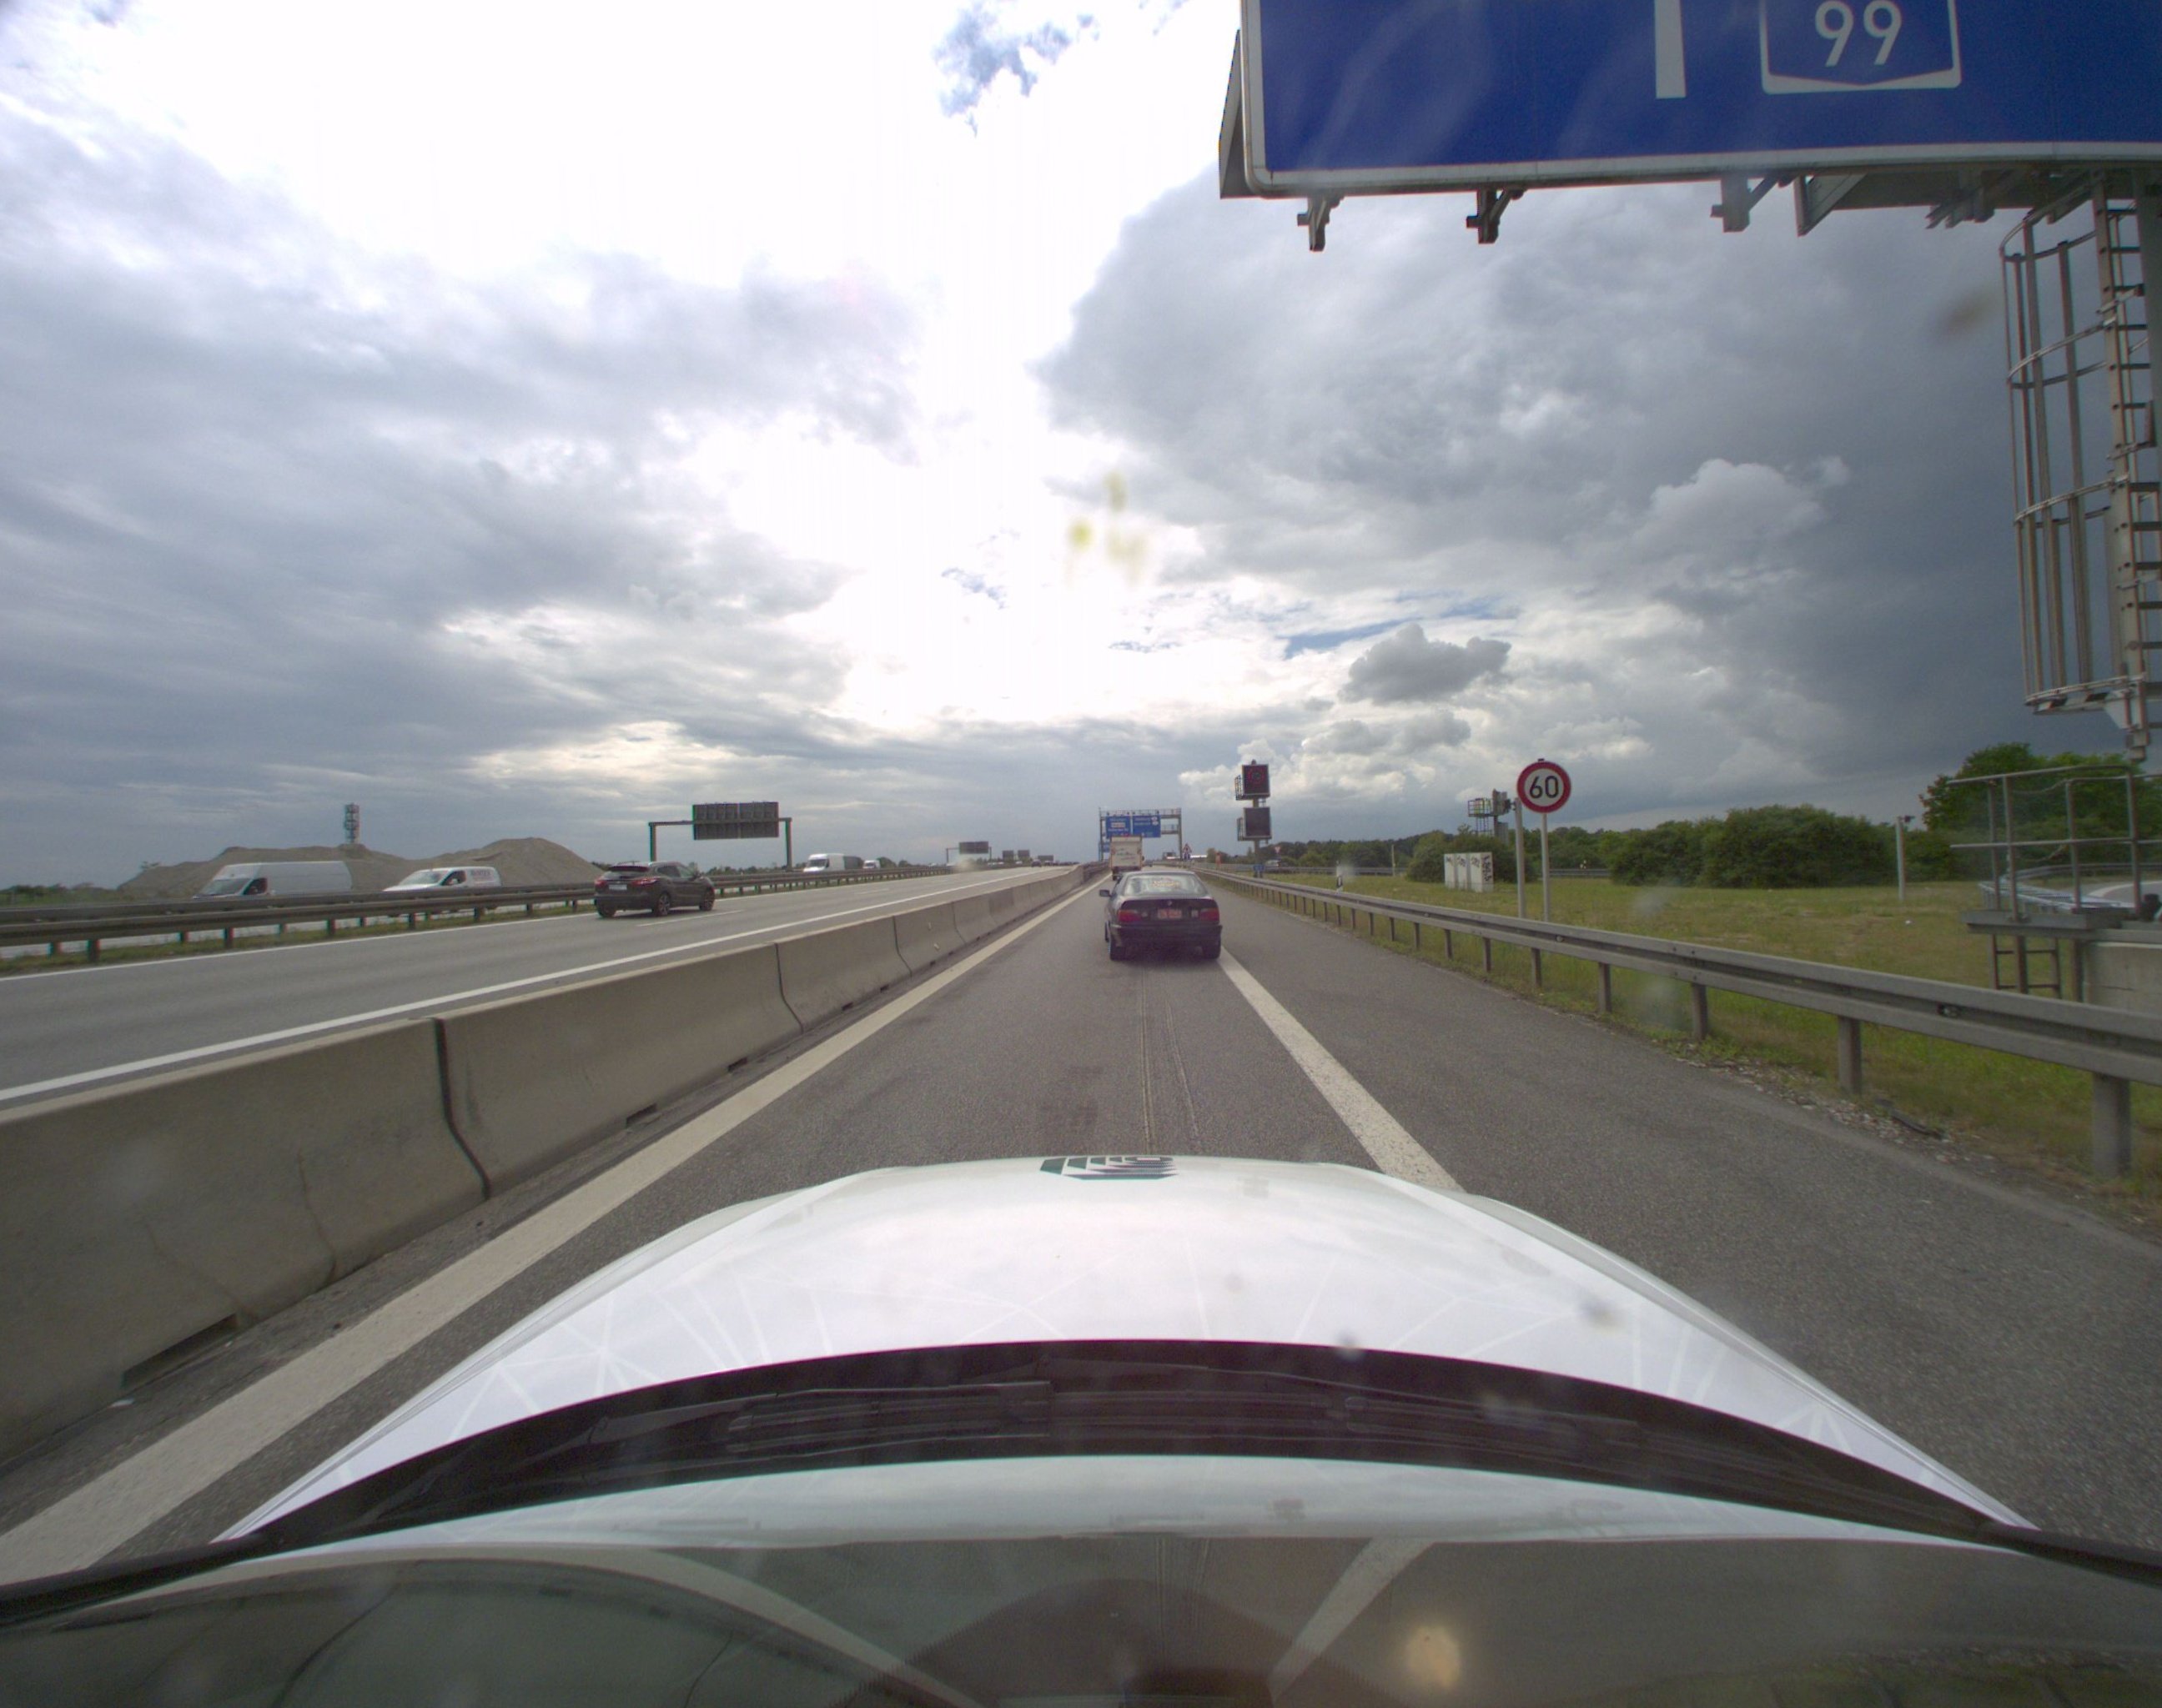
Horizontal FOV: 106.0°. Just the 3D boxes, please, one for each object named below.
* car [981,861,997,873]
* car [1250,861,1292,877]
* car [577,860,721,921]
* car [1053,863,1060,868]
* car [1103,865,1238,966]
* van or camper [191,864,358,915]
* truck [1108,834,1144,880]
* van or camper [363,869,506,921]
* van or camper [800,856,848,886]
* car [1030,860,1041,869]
[{"bbox_3d":[-14.002,1.939,123.772,1.660,1.706,4.004,-1,-1,4],"label":"car"},{"bbox_3d":[19.125,1.471,82.032,2.005,1.552,3.964,0,-1,-28],"label":"car"},{"bbox_3d":[-12.597,0.999,24.122,1.886,1.597,4.417,-1,0,0],"label":"car"},{"bbox_3d":[-7.587,3.534,253.785,1.987,1.398,3.999,-1,-1,0],"label":"car"},{"bbox_3d":[1.306,0.886,13.426,1.777,1.378,4.136,0,-1,0],"label":"car"},{"bbox_3d":[-38.156,1.607,38.847,2.180,2.172,5.808,-1,0,0],"label":"van or camper"},{"bbox_3d":[3.190,0.196,58.266,2.394,3.090,6.374,-1,-1,2],"label":"truck"},{"bbox_3d":[-24.932,1.519,31.639,1.986,1.829,4.349,-1,-1,2],"label":"van or camper"},{"bbox_3d":[-23.842,1.525,75.772,2.179,2.619,6.904,-1,0,0],"label":"van or camper"},{"bbox_3d":[-9.495,2.187,170.793,1.986,1.662,4.384,-1,-1,1],"label":"car"}]
